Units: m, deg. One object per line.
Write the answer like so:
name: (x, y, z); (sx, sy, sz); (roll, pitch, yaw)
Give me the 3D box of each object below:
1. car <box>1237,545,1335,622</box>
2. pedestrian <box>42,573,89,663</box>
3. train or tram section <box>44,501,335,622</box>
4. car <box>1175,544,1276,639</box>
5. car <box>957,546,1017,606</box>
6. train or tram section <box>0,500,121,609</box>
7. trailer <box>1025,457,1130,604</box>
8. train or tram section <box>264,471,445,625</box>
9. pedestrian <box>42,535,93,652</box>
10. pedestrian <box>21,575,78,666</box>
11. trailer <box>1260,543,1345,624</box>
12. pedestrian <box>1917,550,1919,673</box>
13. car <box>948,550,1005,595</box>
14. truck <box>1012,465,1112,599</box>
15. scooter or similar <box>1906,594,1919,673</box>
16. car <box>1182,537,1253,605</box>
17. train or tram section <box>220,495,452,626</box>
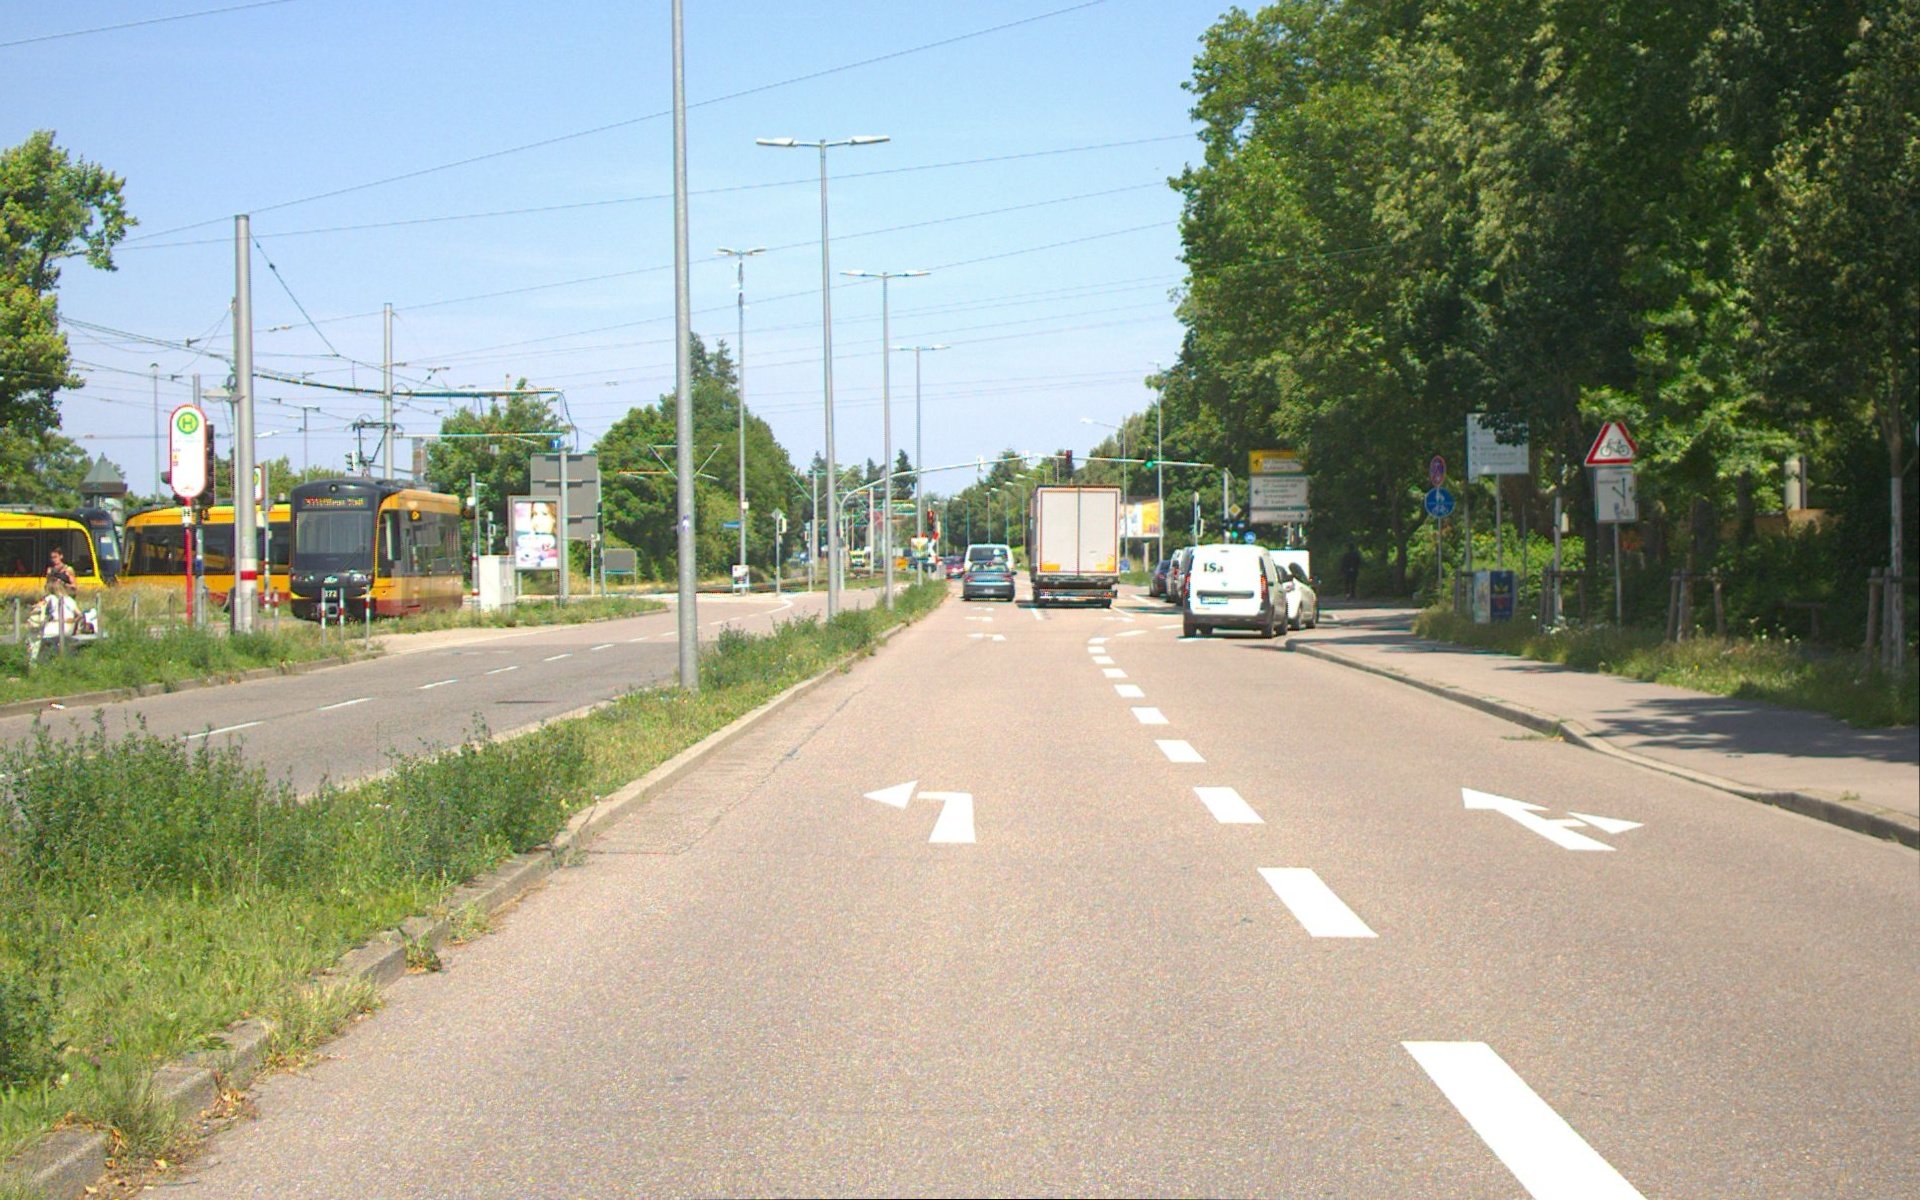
car: (7.244, -0.395, 76.820); (1.699, 1.648, 4.399); (1, 1, -1)
pedestrian: (-11.905, 0.234, 45.758); (0.494, 1.185, 0.400); (1, 1, 3)
train or tram section: (-23.833, -1.250, 105.637); (3.037, 3.454, 12.746); (0, 1, -41)
car: (5.132, -0.195, 66.887); (1.709, 1.741, 4.427); (1, 1, 1)
car: (0.978, -0.901, 126.528); (1.993, 2.104, 4.748); (0, 2, -2)
train or tram section: (-34.192, -1.580, 112.576); (12.710, 3.454, 3.046); (1, 1, 4)
trailer: (3.645, -2.172, 108.472); (2.827, 4.406, 8.750); (1, 1, -1)
train or tram section: (-14.759, -1.289, 84.815); (3.036, 3.454, 13.295); (1, 1, -4)
pedestrian: (-12.120, -0.092, 46.693); (0.534, 1.560, 0.582); (1, 1, -1)
pedestrian: (-11.981, 0.265, 45.270); (0.580, 1.185, 0.536); (1, 1, 1)
trailer: (7.274, -0.365, 73.176); (1.469, 1.663, 2.856); (1, 1, -1)
pedestrian: (11.218, 0.143, 38.638); (0.708, 1.393, 0.763); (1, 1, 2)
car: (0.557, -0.940, 119.379); (1.892, 1.367, 4.430); (2, -1, 0)
truck: (3.421, -2.332, 117.047); (2.827, 4.329, 8.285); (2, 1, -1)
scooter or similar: (11.239, 0.387, 39.173); (0.708, 0.890, 0.763); (1, 1, 2)
car: (8.208, -0.935, 109.979); (1.891, 2.114, 3.887); (1, 1, -1)
train or tram section: (-17.520, -1.152, 95.878); (3.036, 3.454, 10.225); (1, 1, -30)
